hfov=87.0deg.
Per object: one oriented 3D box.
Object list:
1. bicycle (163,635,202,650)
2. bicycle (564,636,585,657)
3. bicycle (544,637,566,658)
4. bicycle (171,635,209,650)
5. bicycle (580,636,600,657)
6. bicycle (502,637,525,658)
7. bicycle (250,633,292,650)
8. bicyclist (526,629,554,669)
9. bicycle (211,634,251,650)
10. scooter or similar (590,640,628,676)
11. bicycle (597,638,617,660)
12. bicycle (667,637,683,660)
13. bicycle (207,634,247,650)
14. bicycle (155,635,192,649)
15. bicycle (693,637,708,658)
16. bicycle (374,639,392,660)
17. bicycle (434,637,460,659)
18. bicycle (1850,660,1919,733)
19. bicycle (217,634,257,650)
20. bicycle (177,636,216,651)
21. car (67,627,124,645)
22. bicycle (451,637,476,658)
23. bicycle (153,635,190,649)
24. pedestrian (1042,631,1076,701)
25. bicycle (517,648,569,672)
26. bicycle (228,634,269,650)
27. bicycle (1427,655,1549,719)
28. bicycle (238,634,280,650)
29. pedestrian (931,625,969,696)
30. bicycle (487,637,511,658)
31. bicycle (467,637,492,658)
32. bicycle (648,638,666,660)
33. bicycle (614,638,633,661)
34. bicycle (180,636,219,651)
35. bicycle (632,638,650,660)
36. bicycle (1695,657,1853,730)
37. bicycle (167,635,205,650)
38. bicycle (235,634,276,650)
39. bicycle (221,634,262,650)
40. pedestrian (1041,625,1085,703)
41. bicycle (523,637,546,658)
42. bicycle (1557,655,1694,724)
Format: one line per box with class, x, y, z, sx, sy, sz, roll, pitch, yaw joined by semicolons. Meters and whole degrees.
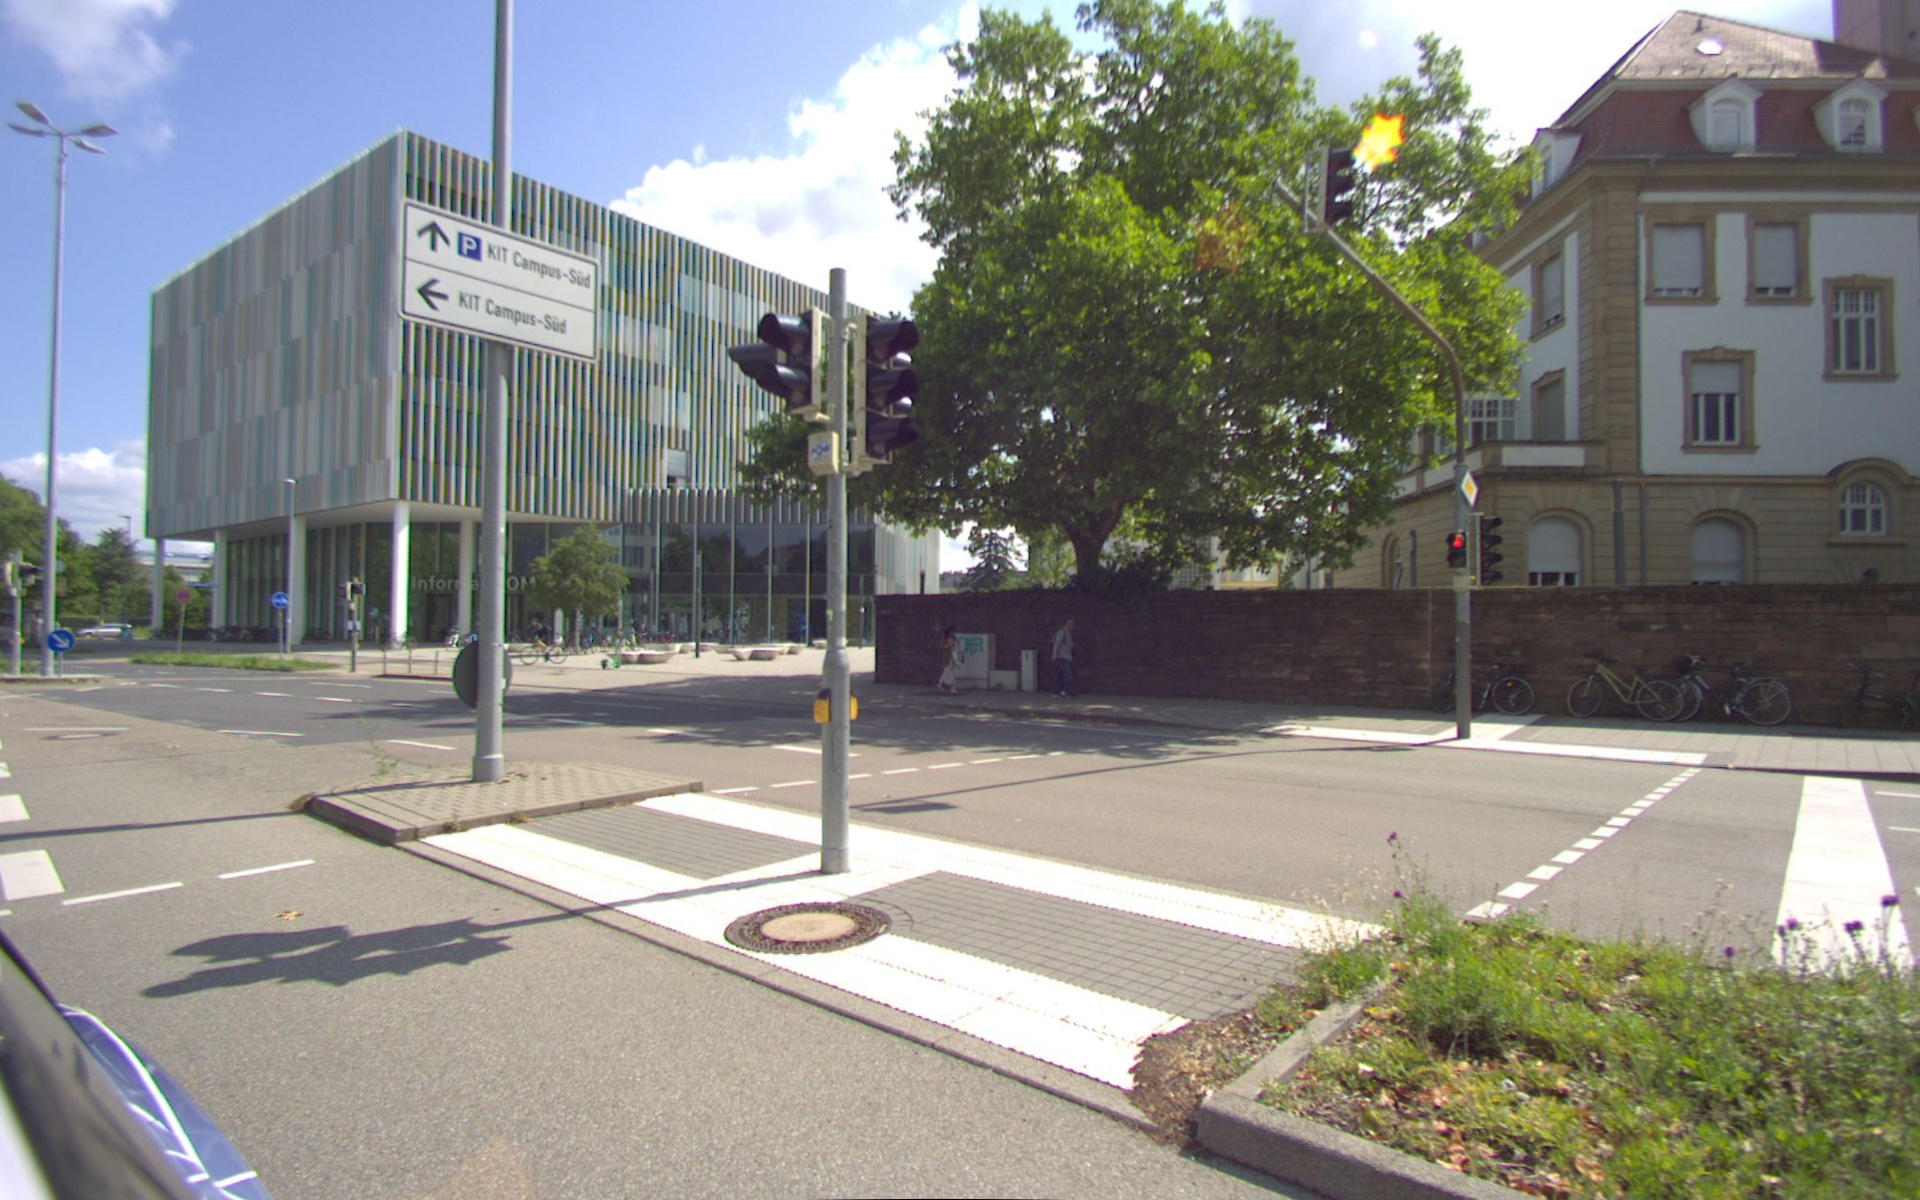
bicycle;-59.175;3.210;77.030;0.720;1.105;2.193;-1;-2;33
bicycle;-20.764;2.510;54.530;0.710;1.105;2.223;0;-2;-13
bicycle;-21.732;2.523;54.367;0.710;1.105;2.223;0;-2;-13
bicycle;-57.823;3.209;76.006;0.720;1.105;2.193;-1;-2;33
bicycle;-20.008;2.517;54.710;0.710;1.105;2.223;0;-2;-13
bicycle;-24.252;2.575;54.971;0.710;1.105;2.223;0;-2;-13
bicycle;-46.186;2.777;67.840;0.753;1.105;2.193;-1;-2;33
bicyclist;-15.807;1.839;38.105;0.930;1.475;0.633;1;-2;-18
bicycle;-51.551;2.989;71.610;0.720;1.105;2.193;-1;-2;33
scooter or similar;-11.900;1.956;34.328;0.498;1.166;1.496;-1;-2;13
bicycle;-19.070;2.655;54.697;0.734;1.146;2.324;0;-2;-12
bicycle;-15.398;2.619;54.715;0.734;1.199;2.324;0;-2;-12
bicycle;-52.322;3.014;72.300;0.720;1.105;2.193;-1;-2;33
bicycle;-61.852;3.309;79.617;0.720;1.105;2.193;-1;-2;33
bicycle;-14.055;2.572;54.828;0.710;1.105;2.223;0;-2;-13
bicycle;-31.095;2.671;54.501;0.539;1.105;1.636;2;-3;-40
bicycle;-27.485;2.558;54.273;0.710;1.105;2.223;0;-2;-13
bicycle;14.520;1.442;15.039;1.875;1.056;0.367;-1;-2;32
bicycle;-50.776;2.958;71.069;0.720;1.105;2.193;-1;-2;33
bicycle;-56.934;3.212;75.480;0.720;1.105;2.193;-1;-2;33
car;-82.432;3.438;96.516;1.645;1.699;3.946;-2;-3;40
bicycle;-26.759;2.559;54.552;0.710;1.105;2.223;0;-2;-13
bicycle;-62.874;3.342;80.713;0.720;1.105;2.193;-1;-2;33
pedestrian;2.230;1.471;22.838;0.615;1.551;0.472;-1;-3;36
bicycle;-15.693;2.253;38.126;1.745;0.899;0.640;1;-2;-17
bicycle;-49.115;2.904;69.920;0.720;1.105;2.194;-1;-2;32
bicycle;9.434;1.527;18.110;1.875;1.056;0.625;-1;-2;32
bicycle;-47.191;2.811;68.159;0.720;1.105;2.193;-1;-2;33
pedestrian;-0.240;1.436;24.147;0.725;1.664;0.555;-1;-3;36
bicycle;-24.993;2.580;54.858;0.710;1.105;2.223;0;-2;-13
bicycle;-26.010;2.580;54.780;0.710;1.105;2.223;0;-2;-13
bicycle;-16.317;2.626;54.513;0.734;1.199;2.324;0;-2;-12
bicycle;-18.131;2.644;54.581;0.734;1.199;2.324;0;-2;-12
bicycle;-56.122;3.189;74.708;0.720;1.105;2.193;-1;-2;33
bicycle;-17.261;2.638;54.758;0.734;1.199;2.324;0;-2;-12
bicycle;12.825;1.454;16.019;1.875;1.056;0.560;-1;-2;32
bicycle;-58.557;3.213;76.572;0.720;1.098;2.193;-1;-2;33
bicycle;-48.336;2.891;69.457;0.733;1.105;2.193;-1;-2;33
bicycle;-50.015;2.943;70.487;0.720;1.105;2.193;-1;-2;33
pedestrian;2.251;1.373;22.067;0.730;1.664;0.635;-1;-3;36
bicycle;-22.790;2.519;54.213;0.710;1.105;2.223;0;-2;-13
bicycle;11.140;1.476;17.013;1.875;1.056;0.625;-1;-2;32
